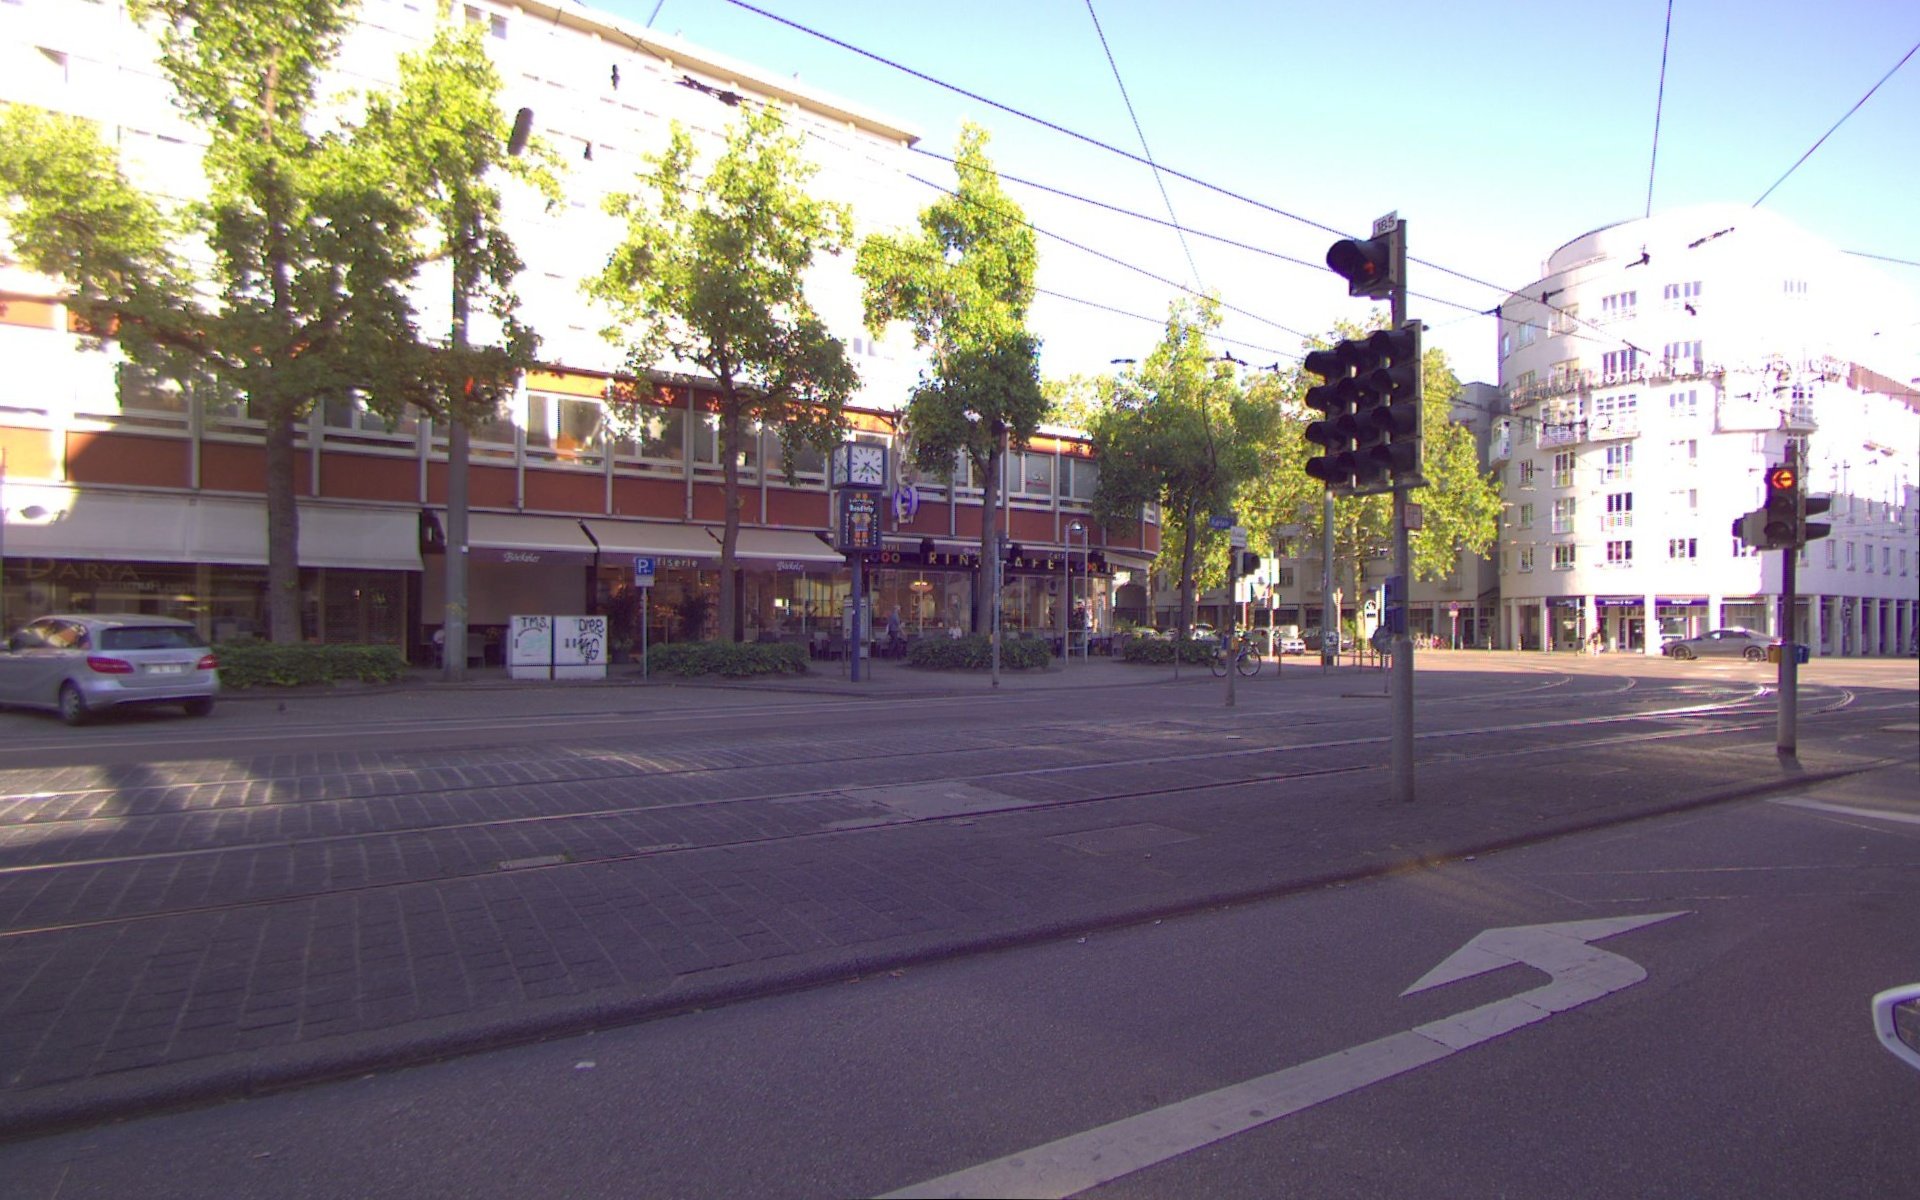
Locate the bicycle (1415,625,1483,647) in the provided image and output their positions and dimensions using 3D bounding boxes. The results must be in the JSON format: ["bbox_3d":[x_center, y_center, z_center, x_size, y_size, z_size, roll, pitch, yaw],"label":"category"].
[{"bbox_3d":[35.220,2.590,72.420,1.053,1.550,4.684,1,-2,-29],"label":"bicycle"}]

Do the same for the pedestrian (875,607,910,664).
[{"bbox_3d":[-2.121,1.107,31.710,0.866,1.745,0.700,0,1,-34],"label":"pedestrian"}]

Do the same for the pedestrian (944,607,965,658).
[{"bbox_3d":[-0.193,1.123,34.977,0.590,1.745,0.647,0,1,-14],"label":"pedestrian"}]

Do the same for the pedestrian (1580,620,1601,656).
[{"bbox_3d":[36.120,2.181,57.558,0.930,2.040,0.939,0,-1,30],"label":"pedestrian"}]

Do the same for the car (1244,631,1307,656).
[{"bbox_3d":[16.819,2.293,53.701,1.738,1.312,4.014,0,-2,-7],"label":"car"}]

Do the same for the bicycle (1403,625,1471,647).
[{"bbox_3d":[33.928,2.551,71.592,1.053,1.550,4.684,1,-2,-29],"label":"bicycle"}]

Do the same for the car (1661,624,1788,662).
[{"bbox_3d":[34.897,1.939,45.930,1.691,1.662,4.405,1,-2,-41],"label":"car"}]

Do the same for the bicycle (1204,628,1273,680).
[{"bbox_3d":[7.650,1.455,27.549,1.884,1.345,0.667,1,2,-30],"label":"bicycle"}]

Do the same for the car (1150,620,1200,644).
[{"bbox_3d":[18.383,2.704,85.928,3.954,1.990,1.984,1,-1,-31],"label":"car"}]

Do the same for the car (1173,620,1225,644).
[{"bbox_3d":[19.865,2.666,83.417,3.954,1.990,1.984,1,-1,-31],"label":"car"}]

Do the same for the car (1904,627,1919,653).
[{"bbox_3d":[58.434,2.391,60.334,3.423,1.566,1.756,1,-2,-32],"label":"car"}]

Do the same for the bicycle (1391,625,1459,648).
[{"bbox_3d":[32.898,2.545,71.128,1.053,1.550,4.684,1,-2,-29],"label":"bicycle"}]

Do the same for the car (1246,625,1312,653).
[{"bbox_3d":[18.646,2.281,58.800,1.605,1.579,4.001,0,-2,-19],"label":"car"}]

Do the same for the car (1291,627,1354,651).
[{"bbox_3d":[24.114,2.588,66.930,1.595,1.551,3.972,0,-1,-27],"label":"car"}]

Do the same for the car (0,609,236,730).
[{"bbox_3d":[-13.554,0.994,15.726,4.200,1.587,1.825,1,-1,26],"label":"car"}]

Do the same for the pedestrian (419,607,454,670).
[{"bbox_3d":[-13.511,0.982,25.918,0.699,1.584,0.867,1,-1,-33],"label":"pedestrian"}]
